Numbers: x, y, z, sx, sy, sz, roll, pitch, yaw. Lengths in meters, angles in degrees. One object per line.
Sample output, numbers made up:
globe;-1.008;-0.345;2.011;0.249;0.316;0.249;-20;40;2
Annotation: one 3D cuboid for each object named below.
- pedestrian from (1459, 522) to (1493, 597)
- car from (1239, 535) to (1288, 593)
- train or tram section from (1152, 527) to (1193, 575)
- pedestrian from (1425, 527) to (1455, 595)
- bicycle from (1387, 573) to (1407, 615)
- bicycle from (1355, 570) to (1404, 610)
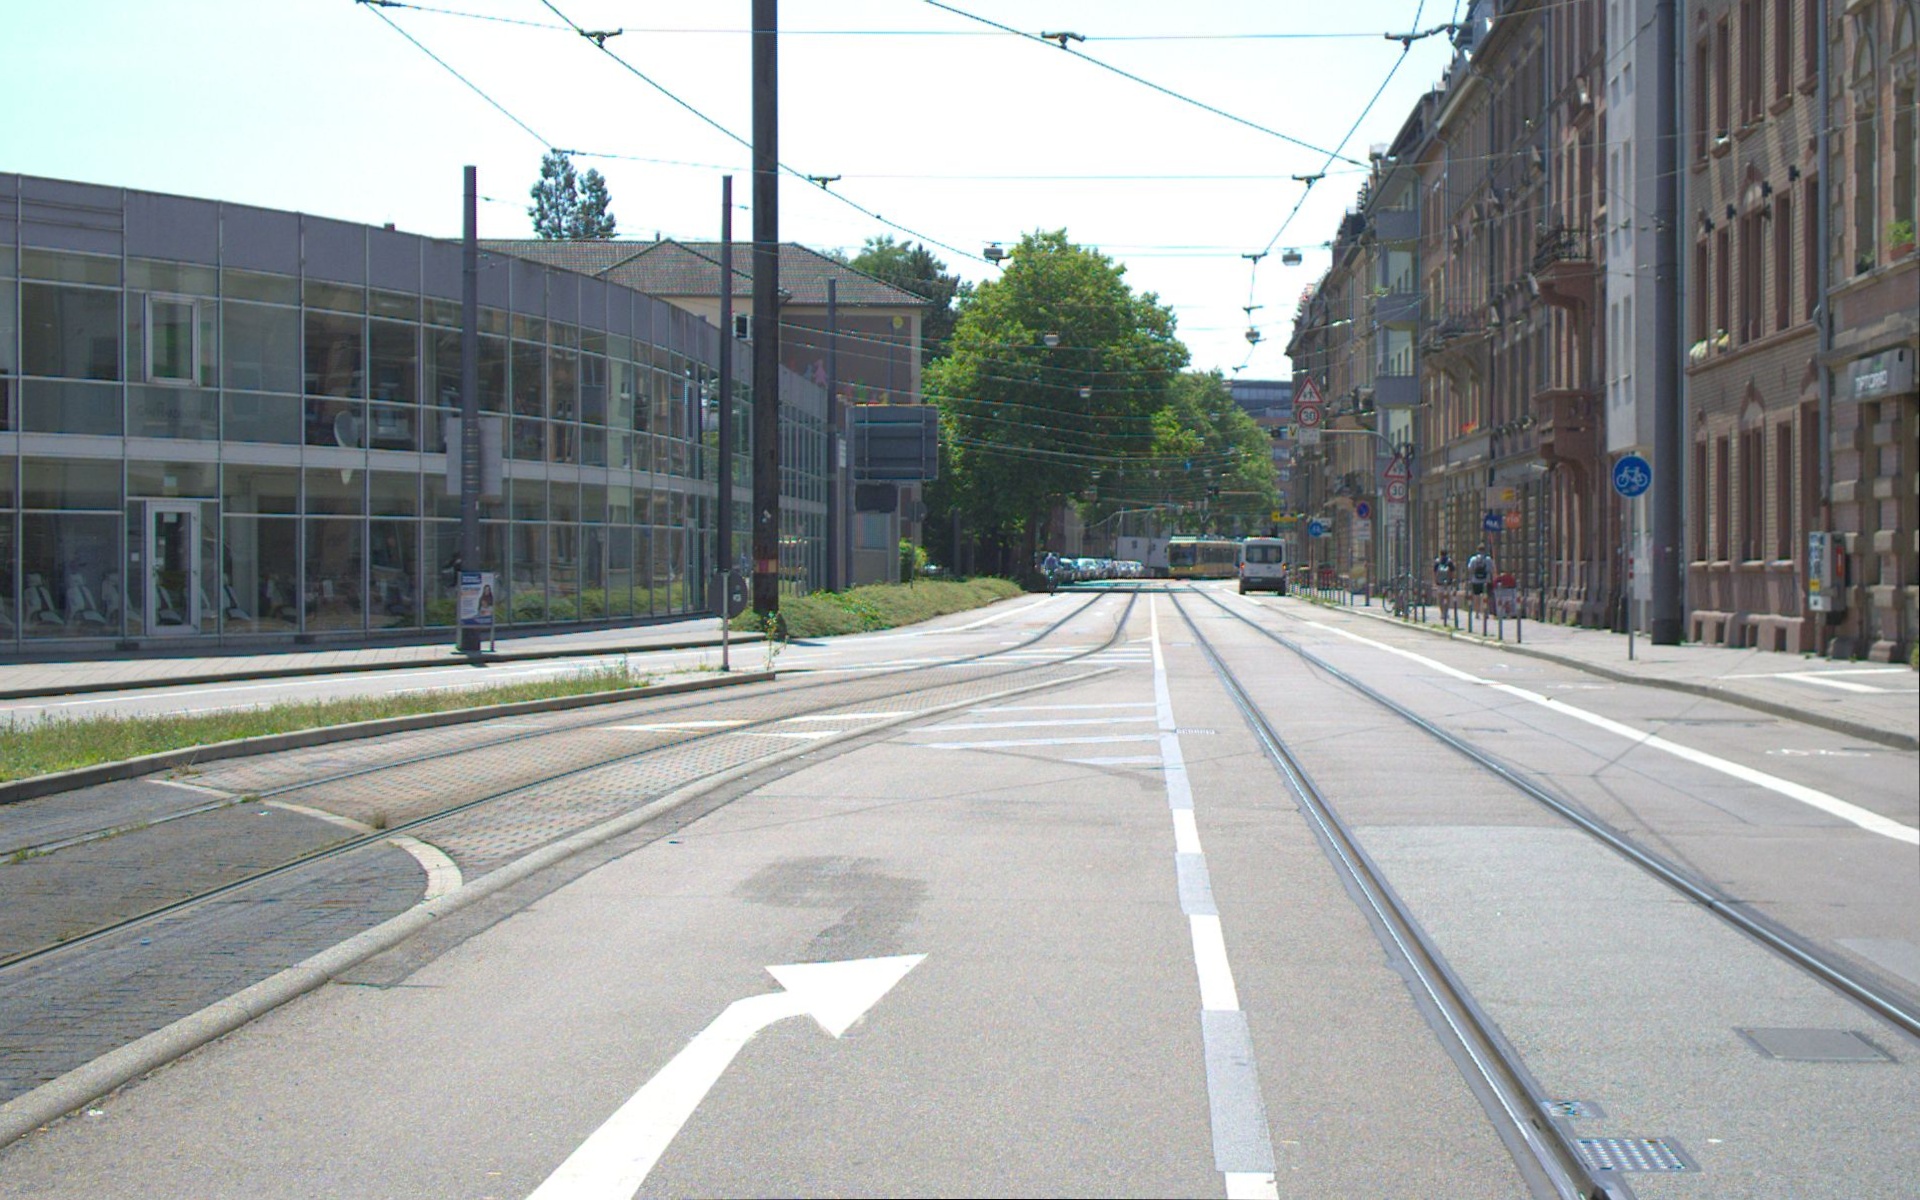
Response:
pedestrian;13.098;-1.022;87.224;0.702;1.842;0.643;-3;0;5
car;13.494;-1.626;153.229;2.068;2.492;5.453;1;1;4
train or tram section;16.187;-3.701;262.466;2.961;3.568;13.422;0;1;3
pedestrian;12.203;-0.984;87.476;0.720;1.714;0.643;0;0;5
bicycle;11.603;-0.162;91.254;0.448;1.093;2.422;0;1;9
bicycle;12.048;-0.298;98.771;0.500;1.127;2.239;0;1;32
